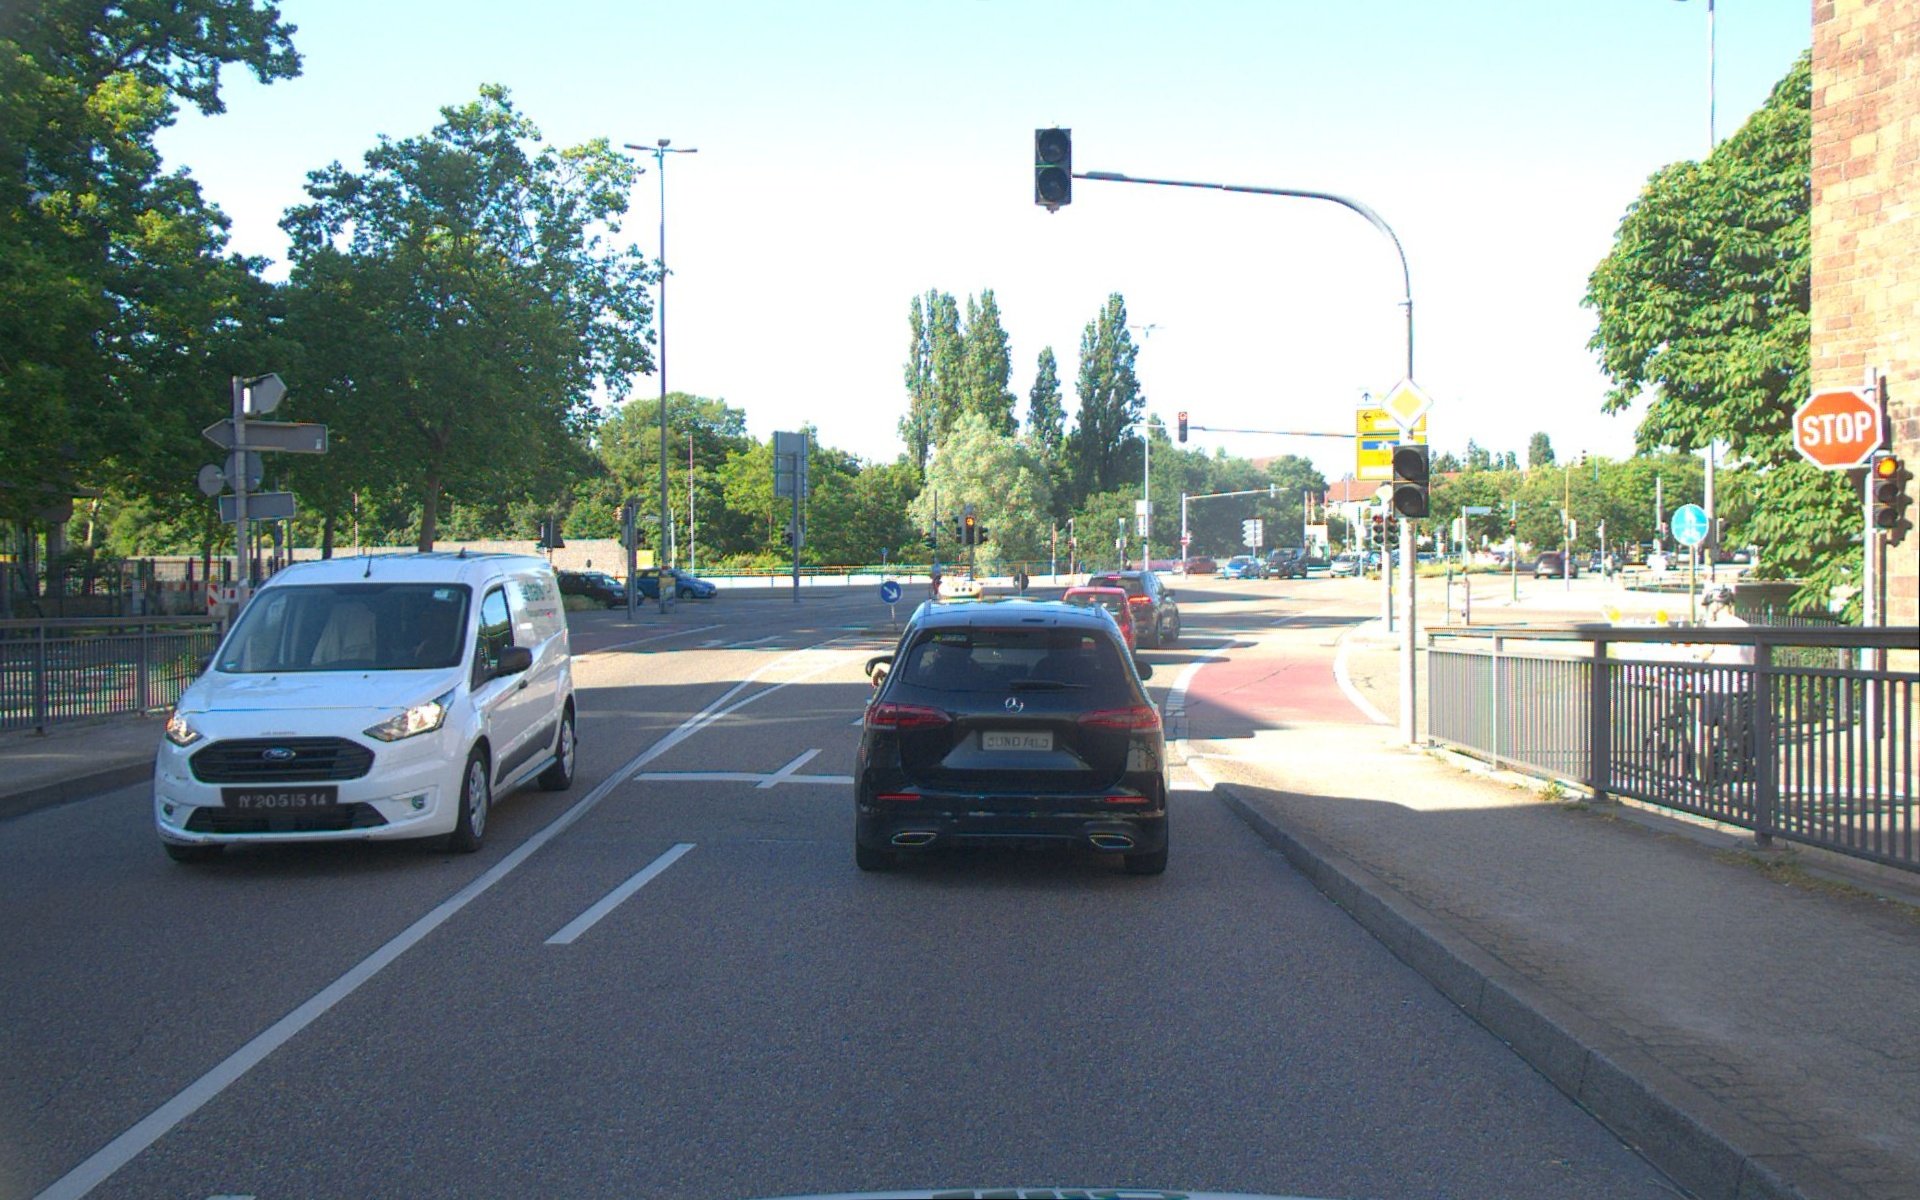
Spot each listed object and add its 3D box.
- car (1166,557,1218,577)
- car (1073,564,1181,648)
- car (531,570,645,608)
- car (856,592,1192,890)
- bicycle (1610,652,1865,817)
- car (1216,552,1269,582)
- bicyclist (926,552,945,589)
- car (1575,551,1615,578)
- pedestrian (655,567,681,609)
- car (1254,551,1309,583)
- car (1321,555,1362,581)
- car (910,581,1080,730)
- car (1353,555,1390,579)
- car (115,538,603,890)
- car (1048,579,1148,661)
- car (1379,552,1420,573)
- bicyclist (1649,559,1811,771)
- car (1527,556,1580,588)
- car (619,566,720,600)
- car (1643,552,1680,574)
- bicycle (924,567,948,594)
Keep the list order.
[{"bbox_3d":[18.468,-2.648,131.588,3.961,1.575,1.972,-2,2,-39],"label":"car"},{"bbox_3d":[4.083,0.081,39.874,1.829,1.821,4.418,2,2,15],"label":"car"},{"bbox_3d":[-14.936,-0.425,66.416,4.352,1.463,1.823,0,2,29],"label":"car"},{"bbox_3d":[0.285,0.737,10.462,1.715,1.520,3.999,0,0,-1],"label":"car"},{"bbox_3d":[6.516,1.080,14.048,0.784,1.130,2.398,0,2,-7],"label":"bicycle"},{"bbox_3d":[18.614,-2.165,108.844,1.956,1.897,4.844,0,2,29],"label":"car"},{"bbox_3d":[-1.169,-1.409,79.163,0.672,1.730,1.199,0,2,11],"label":"bicyclist"},{"bbox_3d":[45.023,-2.522,117.225,1.957,1.825,3.991,0,1,32],"label":"car"},{"bbox_3d":[-11.363,-0.459,64.389,0.672,1.565,1.367,1,-3,4],"label":"pedestrian"},{"bbox_3d":[20.465,-2.103,105.108,1.956,1.969,4.844,0,2,30],"label":"car"},{"bbox_3d":[24.745,-2.067,107.158,1.784,1.610,4.102,0,2,24],"label":"car"},{"bbox_3d":[0.398,0.572,19.634,1.782,1.515,4.001,-1,1,1],"label":"car"},{"bbox_3d":[28.462,-2.273,114.428,1.689,1.610,4.000,0,2,26],"label":"car"},{"bbox_3d":[-3.742,0.551,11.371,1.774,1.833,5.117,-1,1,-4],"label":"car"},{"bbox_3d":[2.929,0.360,34.391,1.781,1.505,4.004,2,1,8],"label":"car"},{"bbox_3d":[32.537,-2.795,122.370,1.957,1.478,3.991,1,1,31],"label":"car"},{"bbox_3d":[6.556,0.531,14.127,0.784,1.735,1.083,0,0,-8],"label":"bicyclist"},{"bbox_3d":[36.129,-1.691,100.640,1.961,1.825,3.983,0,-1,37],"label":"car"},{"bbox_3d":[-13.393,-0.777,76.241,4.348,1.463,1.825,0,1,25],"label":"car"},{"bbox_3d":[56.194,-2.976,132.465,1.959,1.668,3.987,0,1,35],"label":"car"},{"bbox_3d":[-1.141,-0.946,79.287,0.672,1.223,2.330,0,2,11],"label":"bicycle"}]
